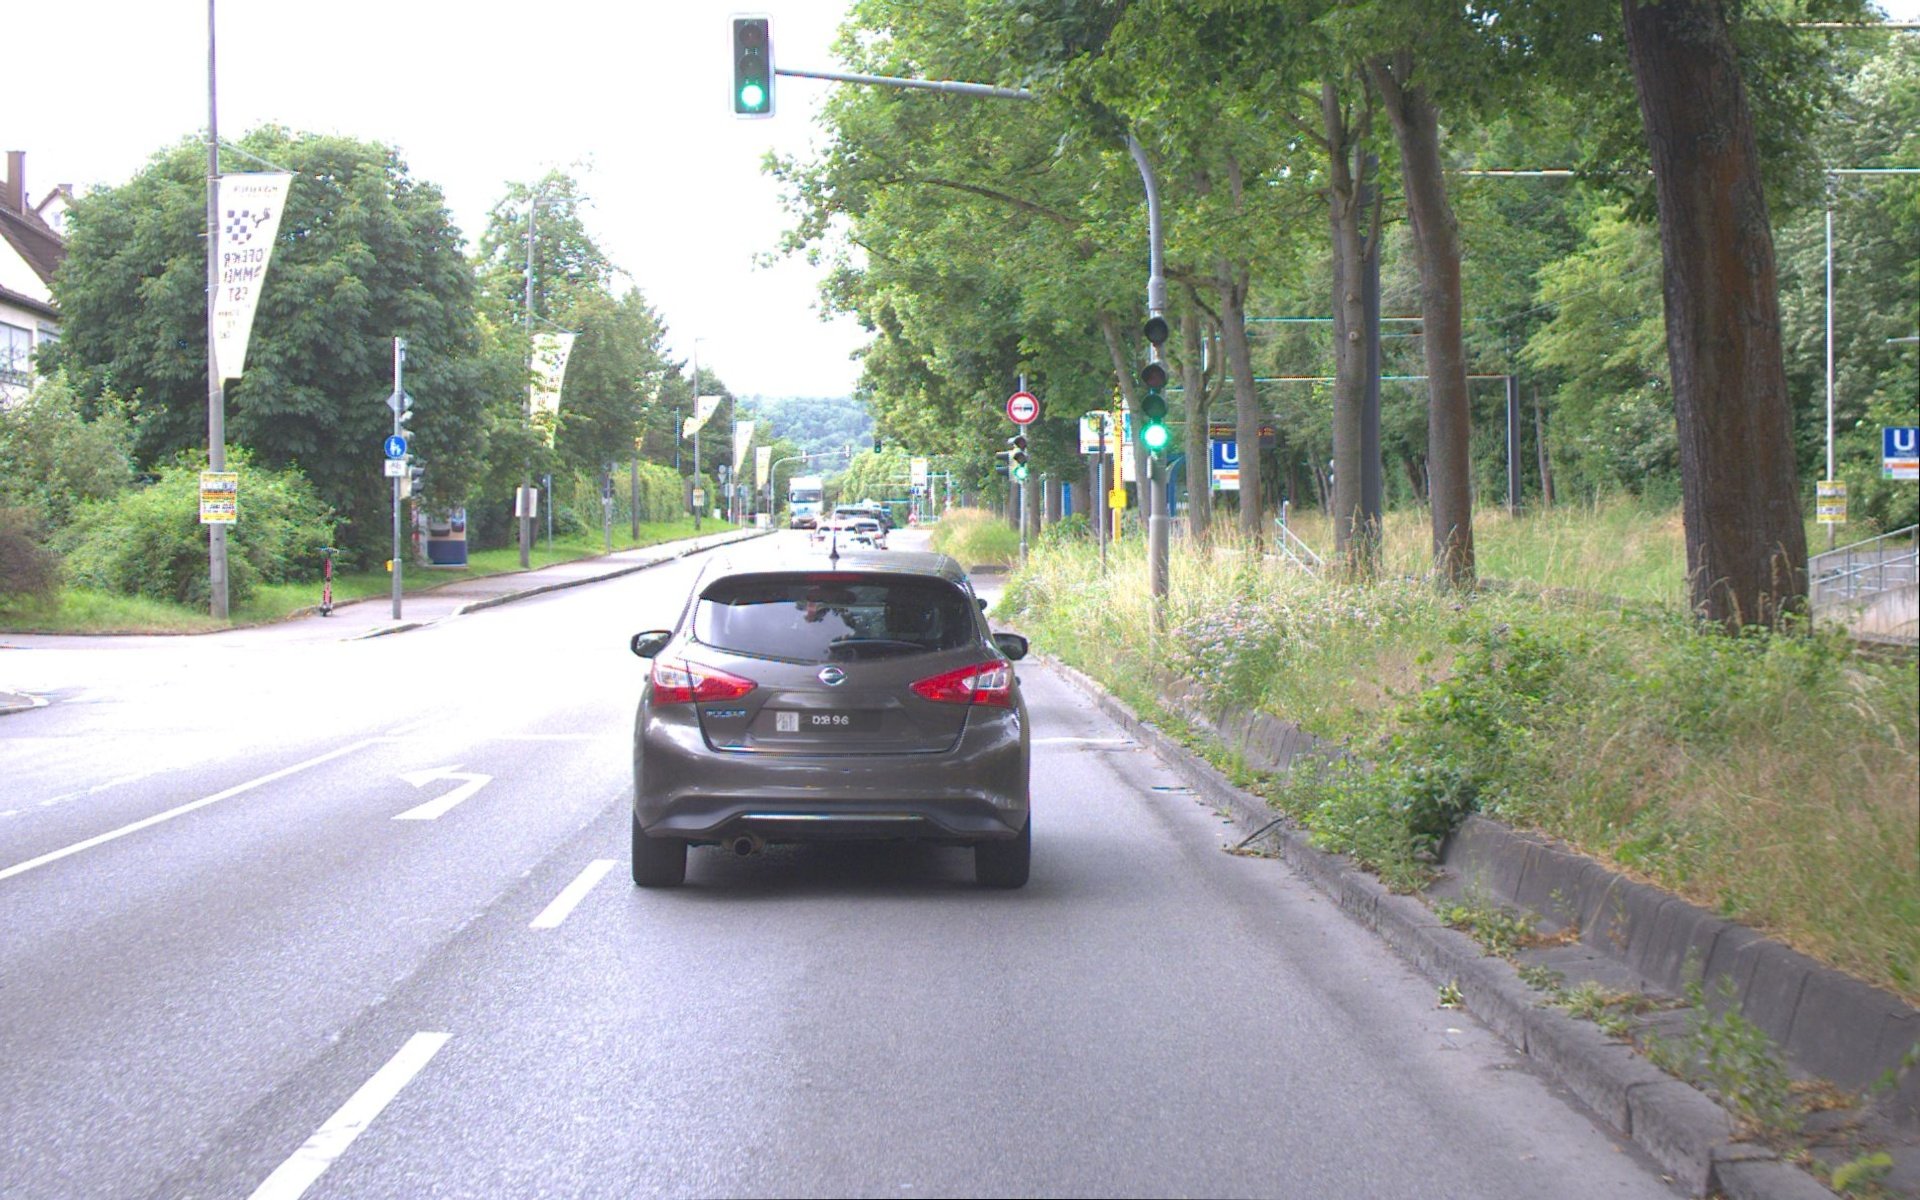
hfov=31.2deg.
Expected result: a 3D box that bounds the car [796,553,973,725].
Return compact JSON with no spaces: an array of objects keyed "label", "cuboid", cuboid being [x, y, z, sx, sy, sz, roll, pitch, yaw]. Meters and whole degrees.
[{"label":"car","cuboid":[-0.682,0.312,31.071,1.502,1.436,3.542,0,1,-1]}]

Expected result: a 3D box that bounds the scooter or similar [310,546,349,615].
[{"label":"scooter or similar","cuboid":[-11.691,-0.366,63.732,0.462,1.254,1.426,0,1,0]}]

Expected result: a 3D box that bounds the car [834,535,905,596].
[{"label":"car","cuboid":[-2.209,-0.855,83.853,1.691,1.436,3.542,0,1,-1]}]

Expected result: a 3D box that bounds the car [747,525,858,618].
[{"label":"car","cuboid":[-2.507,-0.473,55.248,1.691,1.436,3.542,0,1,-1]}]

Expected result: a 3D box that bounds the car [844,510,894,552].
[{"label":"car","cuboid":[-3.137,-2.384,118.529,1.691,1.436,3.542,0,1,-1]}]

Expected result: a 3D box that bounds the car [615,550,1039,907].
[{"label":"car","cuboid":[-0.583,0.515,16.337,1.783,1.501,3.696,0,1,-1]}]
